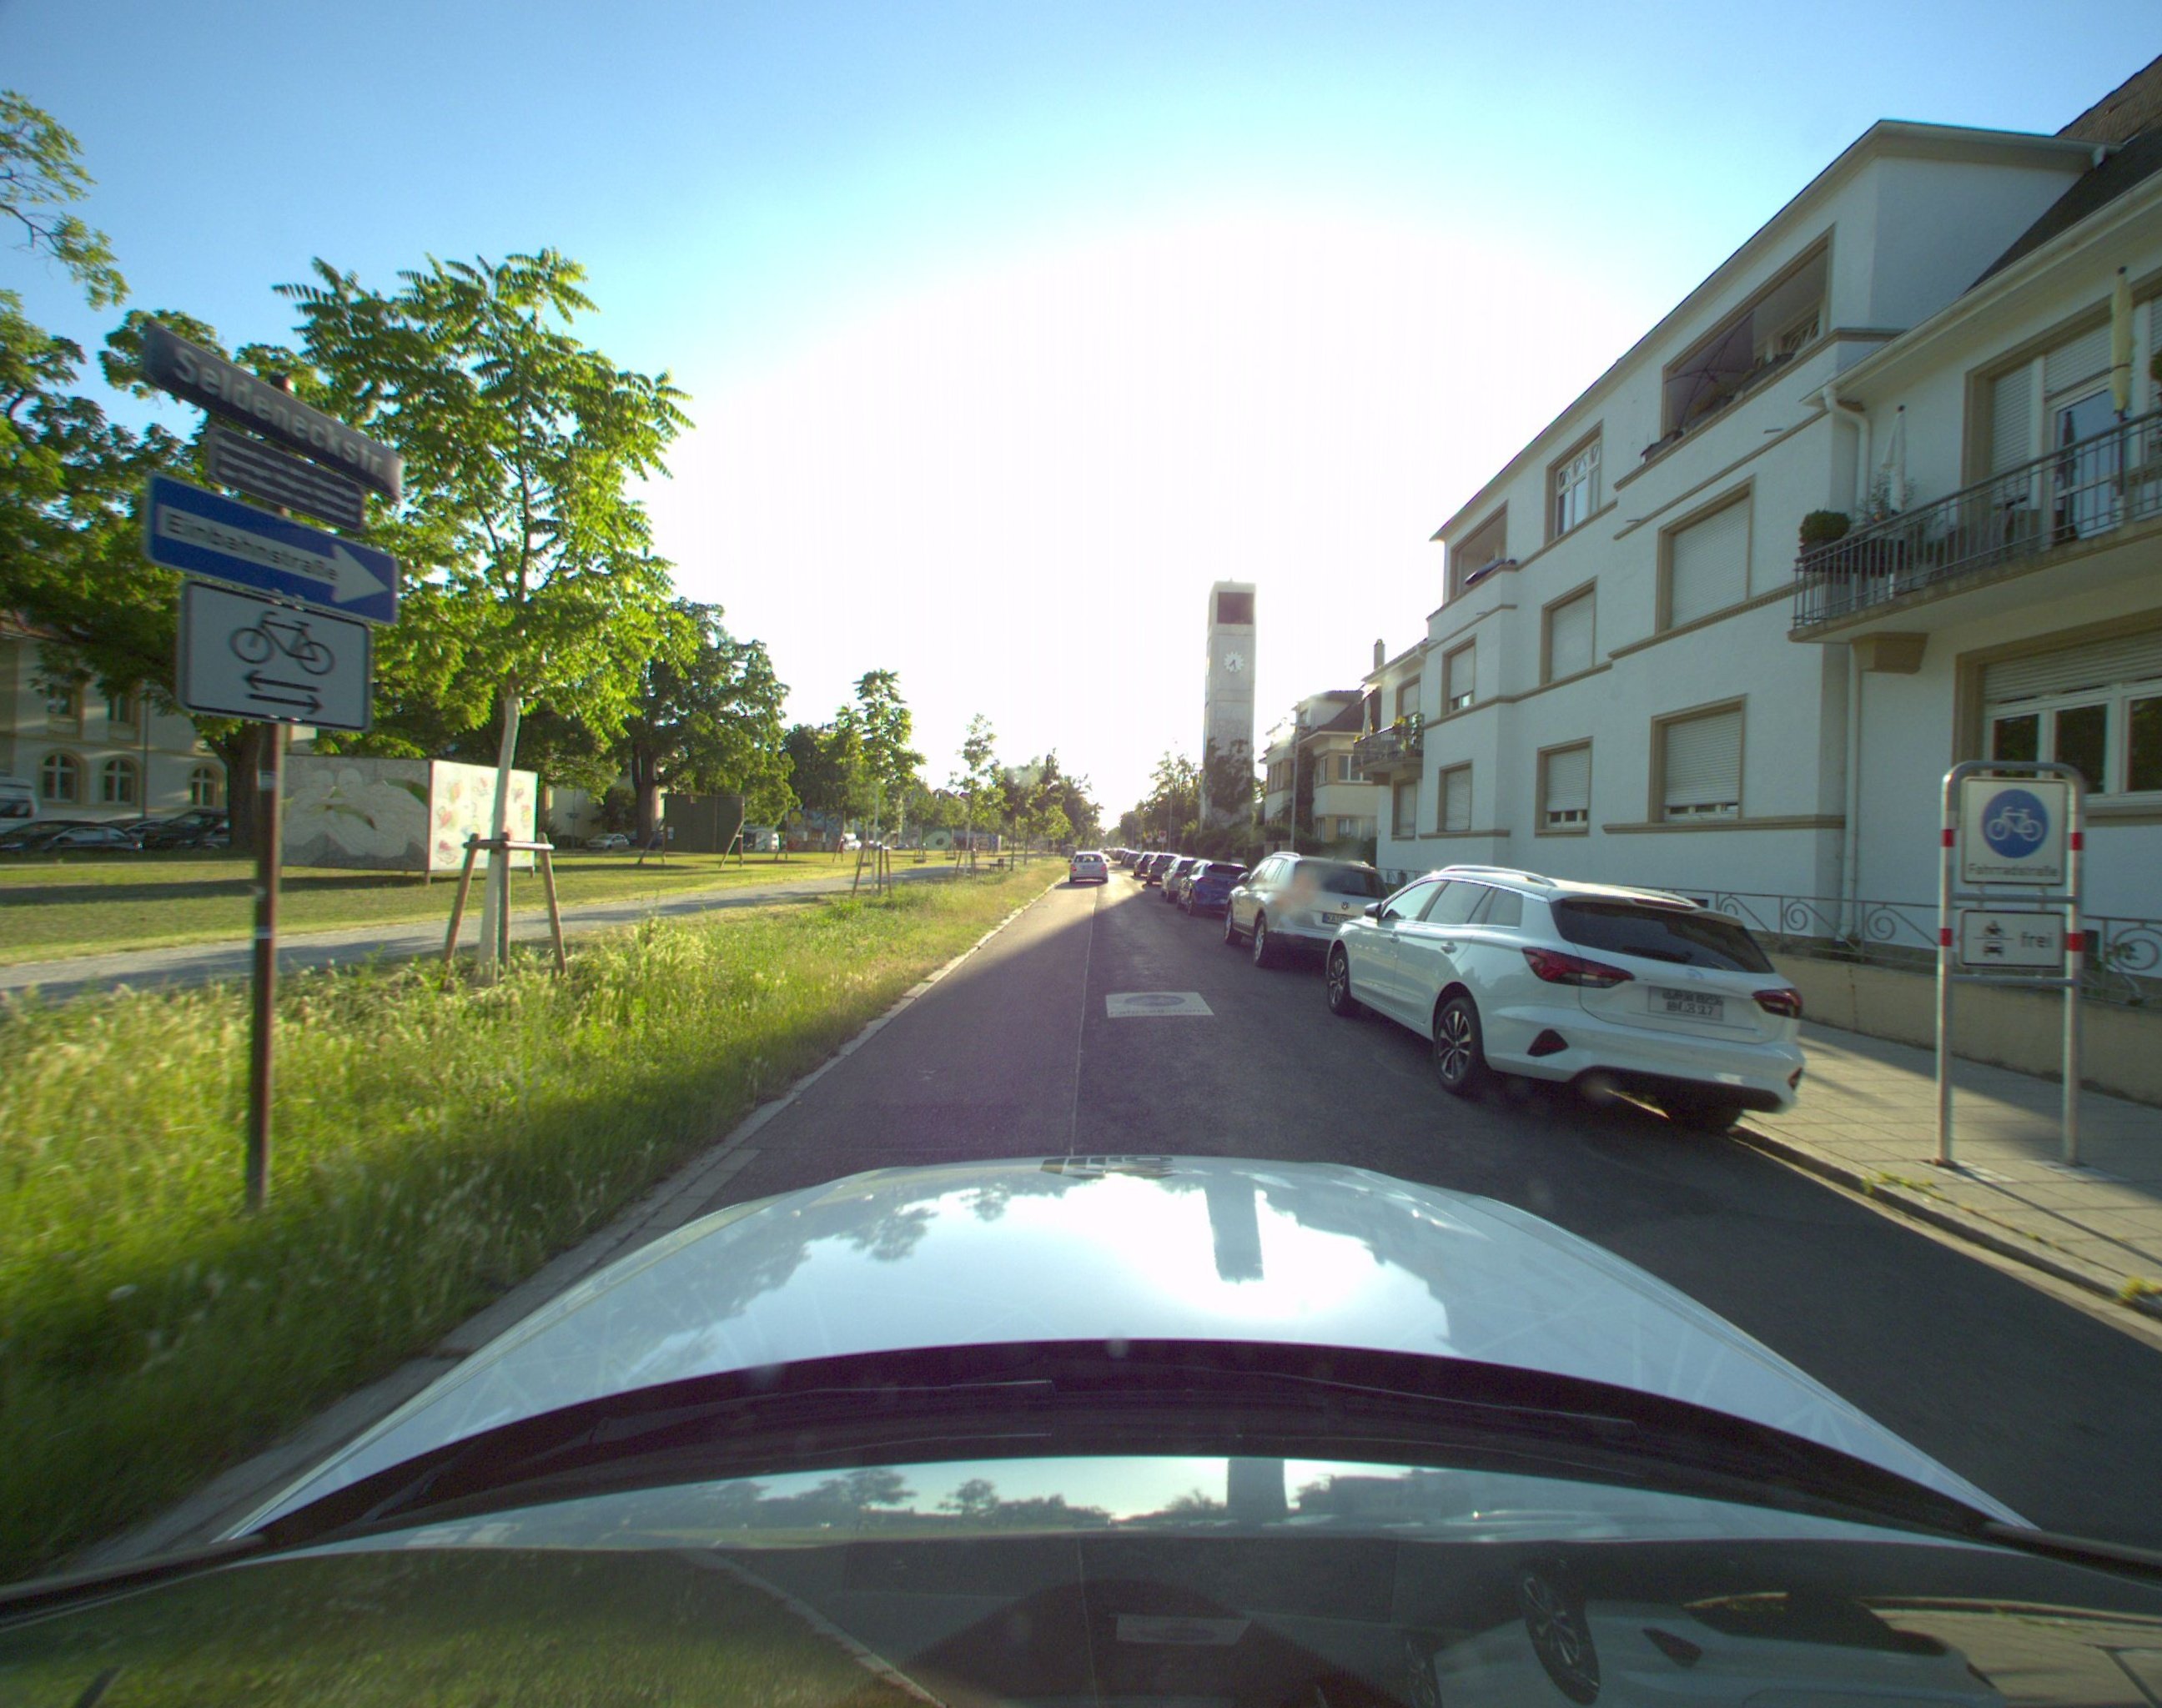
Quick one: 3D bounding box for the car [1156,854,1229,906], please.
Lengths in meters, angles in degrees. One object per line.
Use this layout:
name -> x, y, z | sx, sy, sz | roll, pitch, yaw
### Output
car -> 3.593, 0.799, 26.961 | 1.755, 1.420, 4.000 | 6, 0, 0

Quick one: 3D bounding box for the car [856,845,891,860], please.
car -> -31.491, -0.179, 123.851 | 3.147, 2.148, 6.897 | 0, 0, 2

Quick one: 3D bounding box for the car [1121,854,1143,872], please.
car -> 4.960, 0.903, 80.020 | 1.986, 1.629, 4.003 | 2, 0, 2

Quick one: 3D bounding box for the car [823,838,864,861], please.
car -> -31.352, -0.534, 107.969 | 3.147, 2.993, 6.897 | 0, 0, 2

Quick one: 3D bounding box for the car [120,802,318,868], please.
car -> -33.028, -0.692, 31.510 | 1.986, 2.250, 5.188 | 2, 0, 1

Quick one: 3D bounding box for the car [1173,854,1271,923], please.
car -> 3.616, 0.835, 21.574 | 1.755, 1.419, 4.000 | 7, 0, 0

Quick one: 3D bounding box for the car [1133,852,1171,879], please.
car -> 4.129, 0.651, 47.837 | 1.986, 1.464, 4.003 | 2, 0, 2

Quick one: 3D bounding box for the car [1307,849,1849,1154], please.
car -> 3.339, 0.799, 6.652 | 1.753, 1.605, 4.358 | 2, 1, 0

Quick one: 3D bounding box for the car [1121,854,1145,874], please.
car -> 4.657, 0.896, 73.576 | 1.986, 1.629, 4.003 | 2, 0, 2

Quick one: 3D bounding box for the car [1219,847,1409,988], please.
car -> 3.375, 0.812, 12.612 | 1.679, 1.650, 4.101 | 7, 0, 1

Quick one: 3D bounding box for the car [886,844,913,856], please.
car -> -31.550, -0.685, 141.647 | 3.147, 2.148, 6.113 | 0, 0, 2

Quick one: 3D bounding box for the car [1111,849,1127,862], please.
car -> 5.044, 0.149, 108.342 | 1.973, 1.682, 4.003 | 2, 0, 2

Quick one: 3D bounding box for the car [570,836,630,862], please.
car -> -38.269, -0.358, 64.910 | 1.986, 2.013, 4.486 | 0, 0, 1

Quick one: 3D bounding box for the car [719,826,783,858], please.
car -> -32.095, -1.077, 79.488 | 3.147, 2.993, 6.897 | 0, 0, 2

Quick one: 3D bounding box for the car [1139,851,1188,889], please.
car -> 3.692, 0.664, 37.012 | 1.755, 1.521, 4.000 | 4, 0, 0

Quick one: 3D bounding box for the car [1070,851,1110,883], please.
car -> 0.391, 0.567, 37.961 | 1.755, 1.420, 4.000 | 0, 0, 0

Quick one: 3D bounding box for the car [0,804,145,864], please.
car -> -33.235, -0.626, 25.724 | 1.986, 1.793, 4.487 | 2, 0, 2

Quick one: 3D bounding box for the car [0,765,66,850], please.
car -> -38.879, -1.629, 27.262 | 2.429, 2.922, 5.820 | 0, 0, 1
